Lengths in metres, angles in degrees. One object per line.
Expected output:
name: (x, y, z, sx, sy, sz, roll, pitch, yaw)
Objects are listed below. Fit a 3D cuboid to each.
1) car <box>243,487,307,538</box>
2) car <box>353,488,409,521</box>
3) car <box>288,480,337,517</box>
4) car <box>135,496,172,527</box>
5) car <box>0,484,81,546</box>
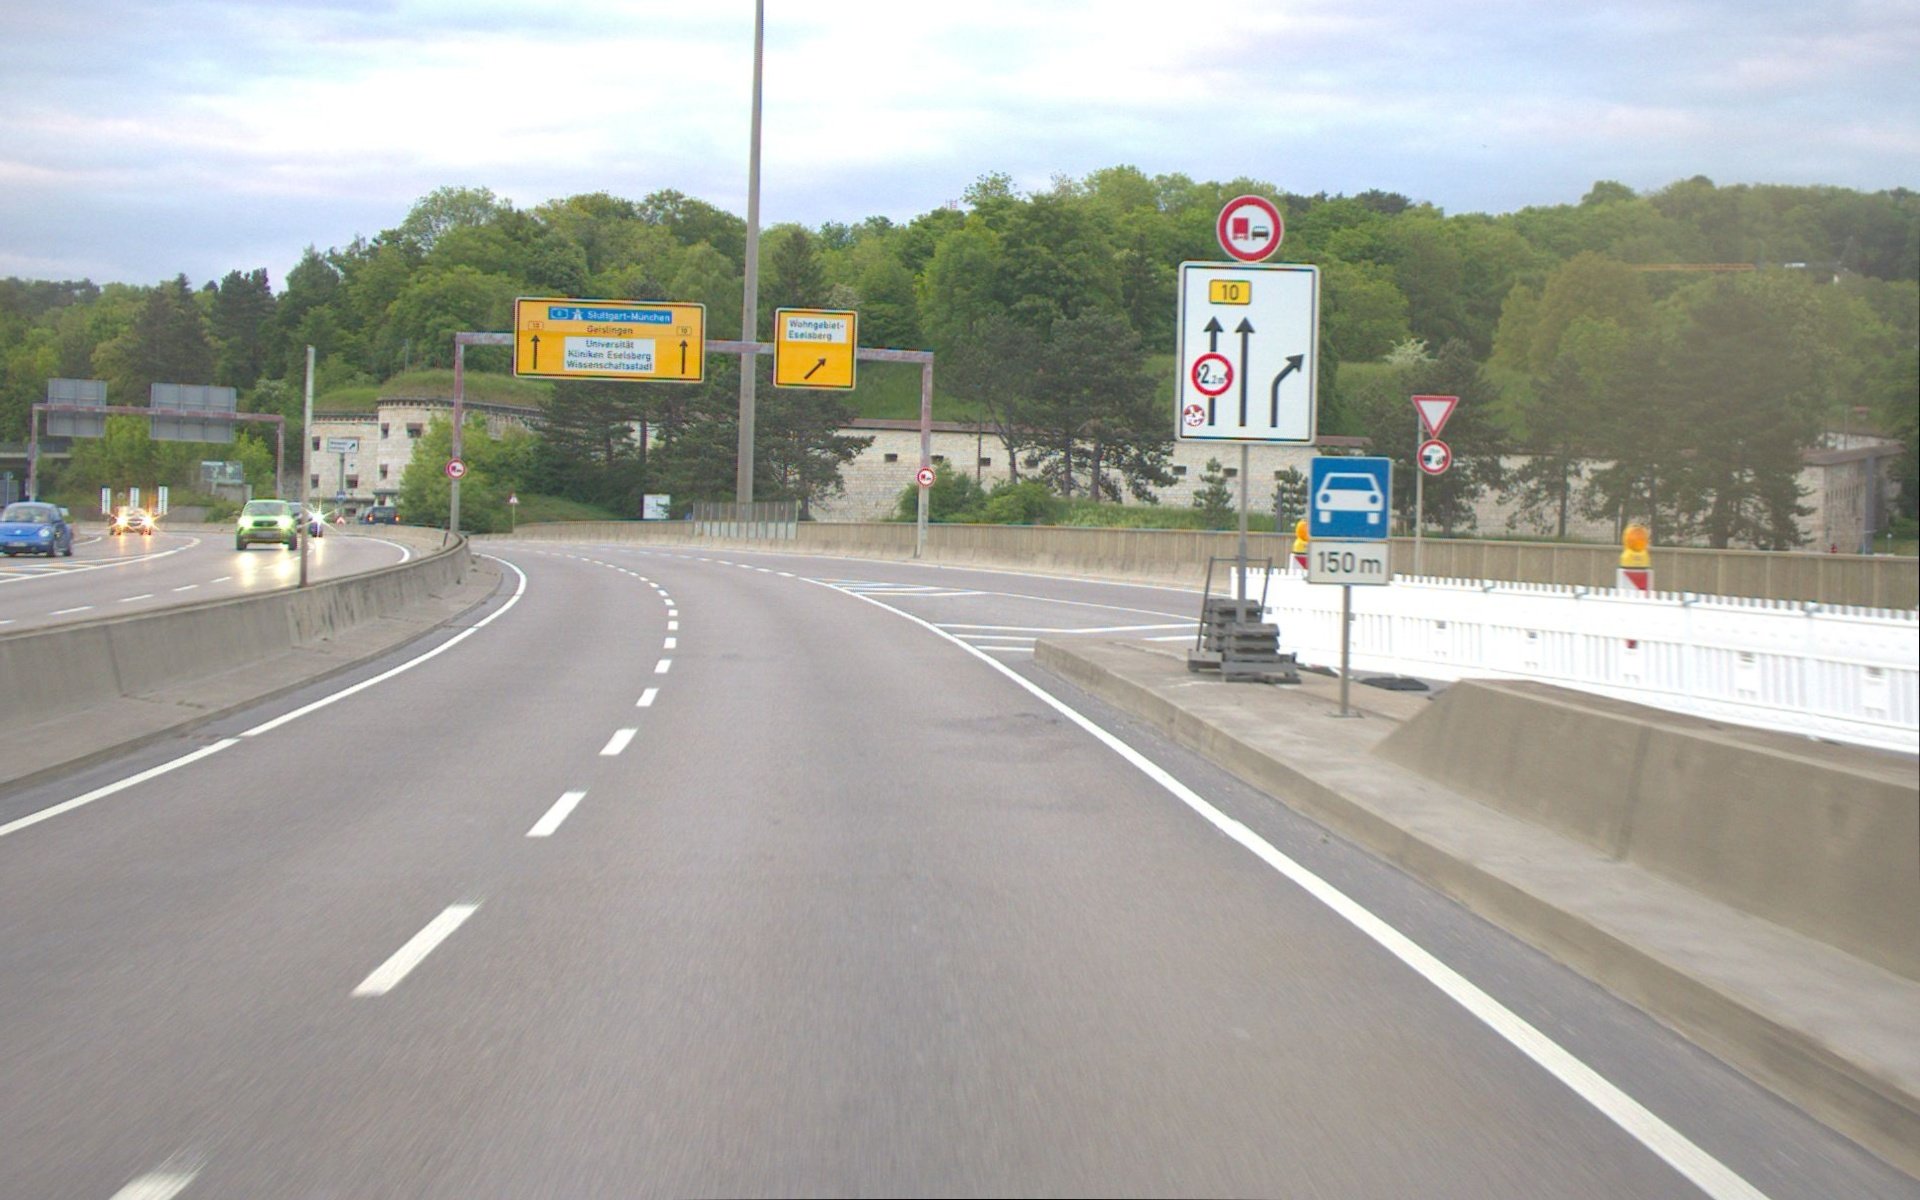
car: (-21.031, -2.684, 105.659, 1.710, 1.489, 4.082, 2, 1, -9)
car: (-32.585, -5.365, 193.521, 2.304, 1.757, 4.264, 2, 1, -20)
car: (-28.123, -4.402, 149.293, 1.810, 1.529, 4.548, 2, 1, -13)
car: (-40.560, -4.467, 172.846, 1.730, 1.471, 4.225, 2, 1, -14)
car: (-24.967, -2.301, 92.479, 1.897, 1.590, 4.163, 1, 2, -5)
